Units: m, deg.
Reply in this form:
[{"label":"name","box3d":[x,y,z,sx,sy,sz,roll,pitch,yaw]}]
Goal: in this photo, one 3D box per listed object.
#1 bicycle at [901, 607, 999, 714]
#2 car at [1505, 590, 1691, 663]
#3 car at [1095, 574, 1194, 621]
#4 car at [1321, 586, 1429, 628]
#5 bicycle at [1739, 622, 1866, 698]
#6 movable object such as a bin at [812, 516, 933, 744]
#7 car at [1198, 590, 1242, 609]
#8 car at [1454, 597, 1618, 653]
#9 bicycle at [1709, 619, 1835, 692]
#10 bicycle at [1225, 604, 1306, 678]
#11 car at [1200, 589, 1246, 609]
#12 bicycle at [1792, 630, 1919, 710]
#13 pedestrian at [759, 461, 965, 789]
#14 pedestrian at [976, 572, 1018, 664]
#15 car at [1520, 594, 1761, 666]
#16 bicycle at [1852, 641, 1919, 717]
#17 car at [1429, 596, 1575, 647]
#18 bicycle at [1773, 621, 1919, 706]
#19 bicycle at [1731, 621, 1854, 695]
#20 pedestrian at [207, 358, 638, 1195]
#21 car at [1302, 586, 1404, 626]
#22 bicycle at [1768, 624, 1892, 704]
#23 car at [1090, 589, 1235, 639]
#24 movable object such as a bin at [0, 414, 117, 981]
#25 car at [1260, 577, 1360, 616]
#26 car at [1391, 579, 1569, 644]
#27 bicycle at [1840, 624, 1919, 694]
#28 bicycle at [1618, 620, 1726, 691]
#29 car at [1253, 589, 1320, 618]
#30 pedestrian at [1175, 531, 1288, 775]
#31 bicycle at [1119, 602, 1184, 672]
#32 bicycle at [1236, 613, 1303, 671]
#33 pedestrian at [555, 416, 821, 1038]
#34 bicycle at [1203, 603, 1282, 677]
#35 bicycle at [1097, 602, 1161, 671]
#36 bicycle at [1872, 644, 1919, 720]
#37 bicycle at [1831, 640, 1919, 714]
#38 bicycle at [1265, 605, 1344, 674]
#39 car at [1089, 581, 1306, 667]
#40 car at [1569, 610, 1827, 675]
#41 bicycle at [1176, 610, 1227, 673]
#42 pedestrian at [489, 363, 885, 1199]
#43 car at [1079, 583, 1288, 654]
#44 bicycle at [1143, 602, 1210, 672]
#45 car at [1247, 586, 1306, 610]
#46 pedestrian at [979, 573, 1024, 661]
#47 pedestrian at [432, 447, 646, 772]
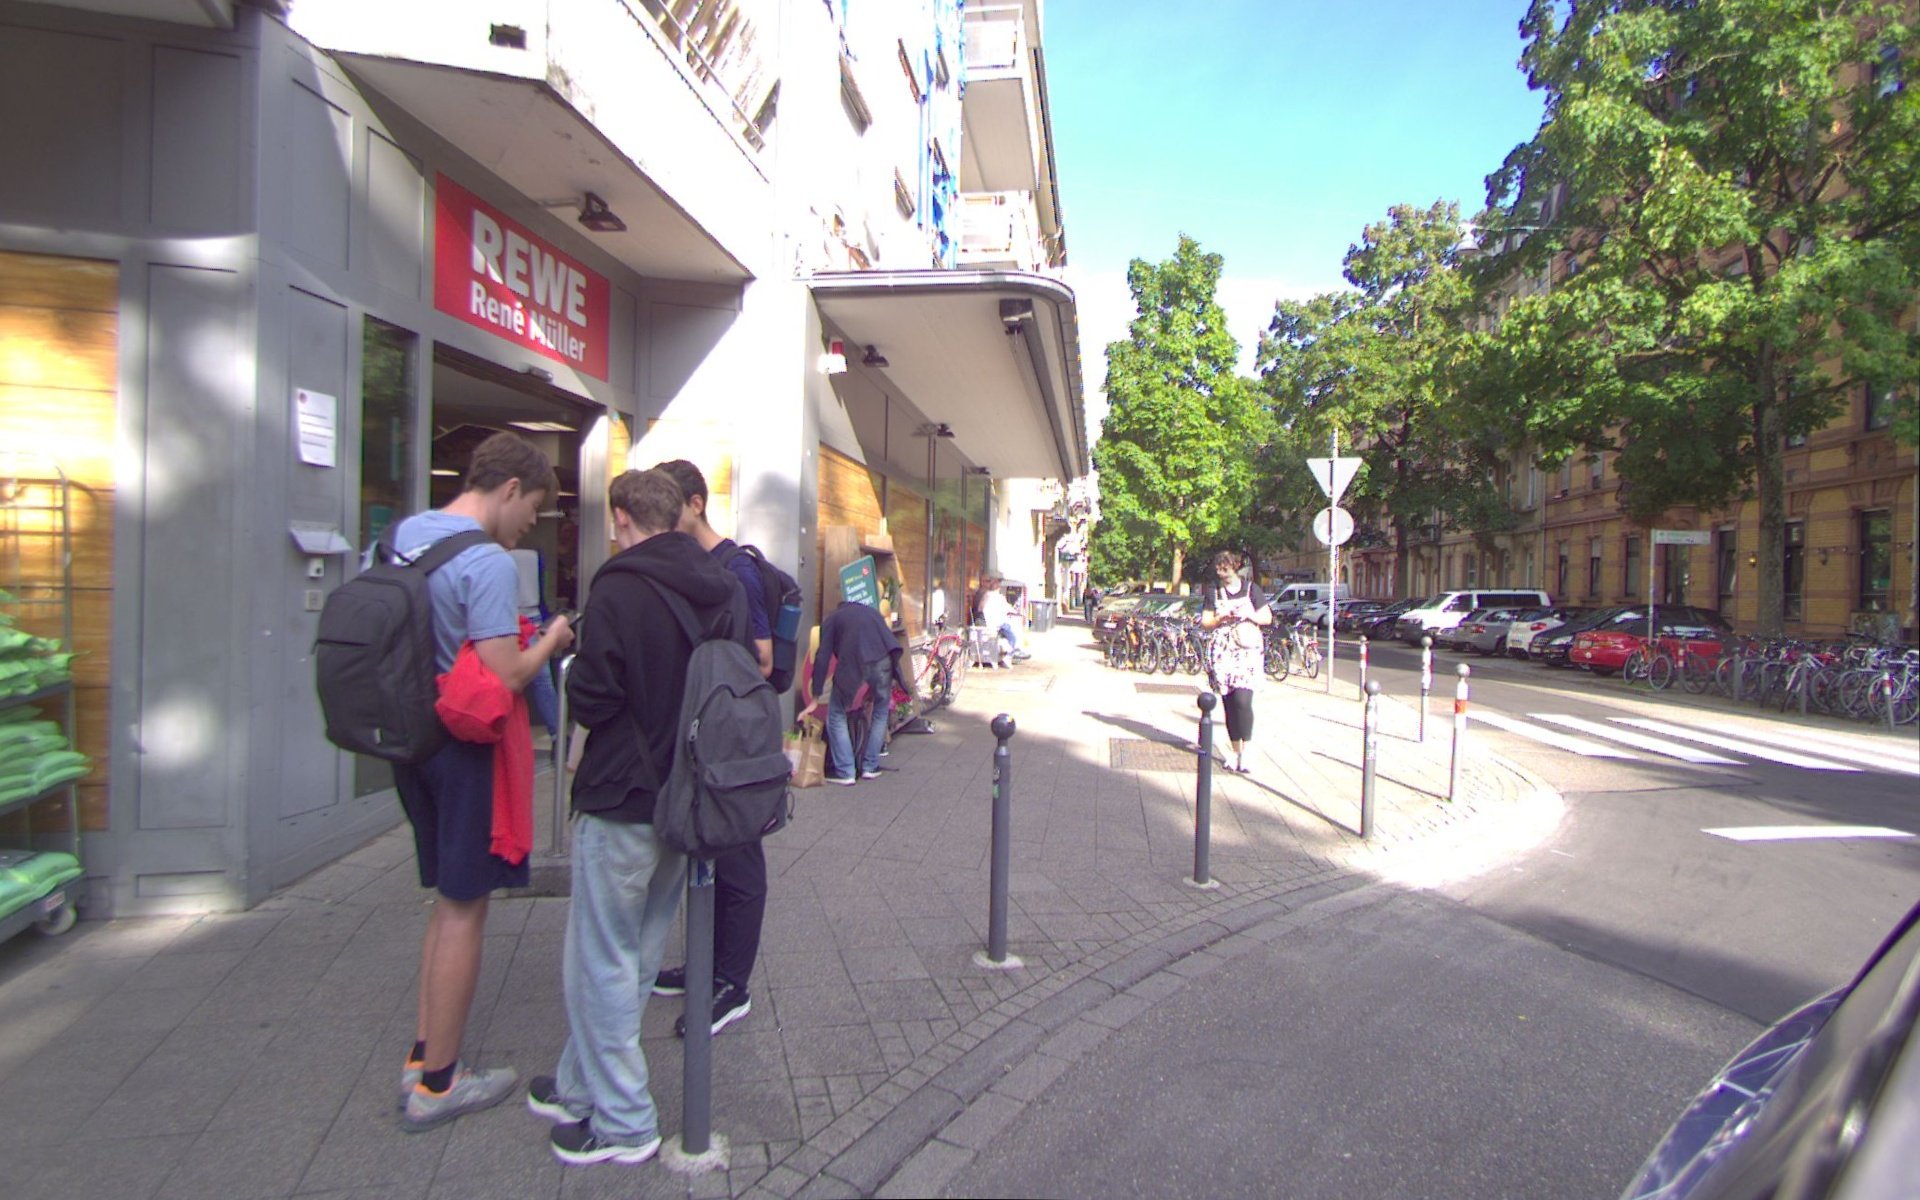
[{"label":"bicycle","box3d":[-0.079,0.626,11.210,0.575,1.045,1.526,3,1,18]},{"label":"car","box3d":[16.527,0.654,26.397,3.650,1.743,1.854,1,-1,11]},{"label":"car","box3d":[9.905,-0.125,54.357,4.709,2.249,2.152,2,0,-22]},{"label":"car","box3d":[19.875,0.308,48.644,4.382,1.856,1.933,-1,0,6]},{"label":"bicycle","box3d":[13.919,0.991,16.738,1.680,1.216,0.448,0,1,1]},{"label":"movable object such as a bin","box3d":[-0.722,0.227,8.825,0.679,1.776,1.547,3,1,6]},{"label":"car","box3d":[25.102,-0.071,97.826,3.933,1.754,1.825,1,-1,9]},{"label":"car","box3d":[16.304,0.720,28.803,3.649,1.476,1.664,-1,-1,11]},{"label":"bicycle","box3d":[14.195,0.956,17.726,1.687,1.216,0.446,0,1,14]},{"label":"bicycle","box3d":[5.416,0.695,18.069,0.404,1.190,1.857,2,1,-16]},{"label":"car","box3d":[24.773,-0.100,95.434,3.933,1.754,1.825,1,-1,9]},{"label":"bicycle","box3d":[13.595,1.027,14.906,2.022,1.102,0.445,0,1,23]},{"label":"pedestrian","box3d":[-0.677,0.145,6.932,1.015,2.038,0.863,2,2,-39]},{"label":"pedestrian","box3d":[0.632,0.290,17.255,0.656,1.525,0.753,1,0,3]},{"label":"car","box3d":[15.867,0.671,23.870,4.251,1.589,1.997,-1,0,16]},{"label":"bicycle","box3d":[13.504,1.102,13.995,1.692,0.999,0.445,0,1,23]},{"label":"car","box3d":[16.878,0.657,31.681,3.649,1.476,1.664,-1,1,11]},{"label":"bicycle","box3d":[13.600,0.958,15.525,1.692,1.216,0.445,0,1,23]},{"label":"bicycle","box3d":[14.125,0.973,17.184,1.680,1.216,0.448,0,1,1]},{"label":"pedestrian","box3d":[-1.344,0.359,2.610,0.624,1.818,0.711,4,3,17]},{"label":"car","box3d":[19.769,0.295,51.086,4.382,1.856,1.933,-1,0,6]},{"label":"bicycle","box3d":[13.900,1.010,16.180,1.678,1.216,0.449,0,1,-4]},{"label":"car","box3d":[6.873,0.464,34.363,4.532,1.514,1.754,2,0,-19]},{"label":"movable object such as a bin","box3d":[-4.196,0.283,3.076,2.372,1.766,0.784,1,0,-16]},{"label":"car","box3d":[21.168,-0.221,61.376,5.393,2.229,1.994,1,-1,10]},{"label":"car","box3d":[17.337,0.377,33.978,4.826,2.014,2.044,-1,0,6]},{"label":"bicycle","box3d":[16.133,0.995,17.139,1.773,1.128,0.598,0,1,14]},{"label":"bicycle","box3d":[13.094,0.989,18.700,0.572,1.109,2.493,-2,1,9]},{"label":"car","box3d":[22.344,0.259,69.376,4.059,1.898,1.994,1,-1,10]},{"label":"pedestrian","box3d":[2.126,0.377,7.877,0.609,1.775,0.833,2,0,30]},{"label":"bicycle","box3d":[3.358,0.630,17.882,0.412,1.099,1.703,2,2,-14]},{"label":"bicycle","box3d":[5.857,0.779,19.218,0.482,1.014,1.426,2,0,-16]},{"label":"pedestrian","box3d":[-0.851,0.373,3.313,0.646,1.818,0.656,3,3,-3]},{"label":"bicycle","box3d":[4.999,0.686,18.038,0.404,1.190,1.857,2,1,-16]},{"label":"bicycle","box3d":[2.969,0.621,17.956,0.412,1.099,1.703,2,2,-14]},{"label":"bicycle","box3d":[13.393,1.118,13.554,1.692,0.981,0.445,0,1,23]},{"label":"bicycle","box3d":[13.583,1.093,14.428,1.692,0.999,0.445,0,1,23]},{"label":"bicycle","box3d":[6.520,0.731,19.259,0.404,1.190,1.857,2,1,-16]},{"label":"car","box3d":[4.883,0.477,21.096,3.918,1.473,1.814,3,1,-7]},{"label":"car","box3d":[15.231,0.868,21.080,4.042,1.286,1.564,0,-1,8]},{"label":"bicycle","box3d":[4.288,0.717,18.059,0.405,1.031,1.503,2,0,-4]},{"label":"pedestrian","box3d":[-0.707,0.385,2.602,0.712,1.818,0.623,5,4,39]},{"label":"car","box3d":[5.313,0.447,24.024,4.569,1.473,1.960,2,0,-26]},{"label":"bicycle","box3d":[3.837,0.632,18.048,0.412,1.099,1.703,2,2,-14]},{"label":"car","box3d":[23.708,-0.141,76.003,3.933,1.754,1.825,1,-1,9]},{"label":"pedestrian","box3d":[0.745,0.288,18.042,0.740,1.525,0.667,1,0,6]},{"label":"pedestrian","box3d":[-2.524,0.039,6.094,0.922,1.775,0.757,2,0,29]}]
